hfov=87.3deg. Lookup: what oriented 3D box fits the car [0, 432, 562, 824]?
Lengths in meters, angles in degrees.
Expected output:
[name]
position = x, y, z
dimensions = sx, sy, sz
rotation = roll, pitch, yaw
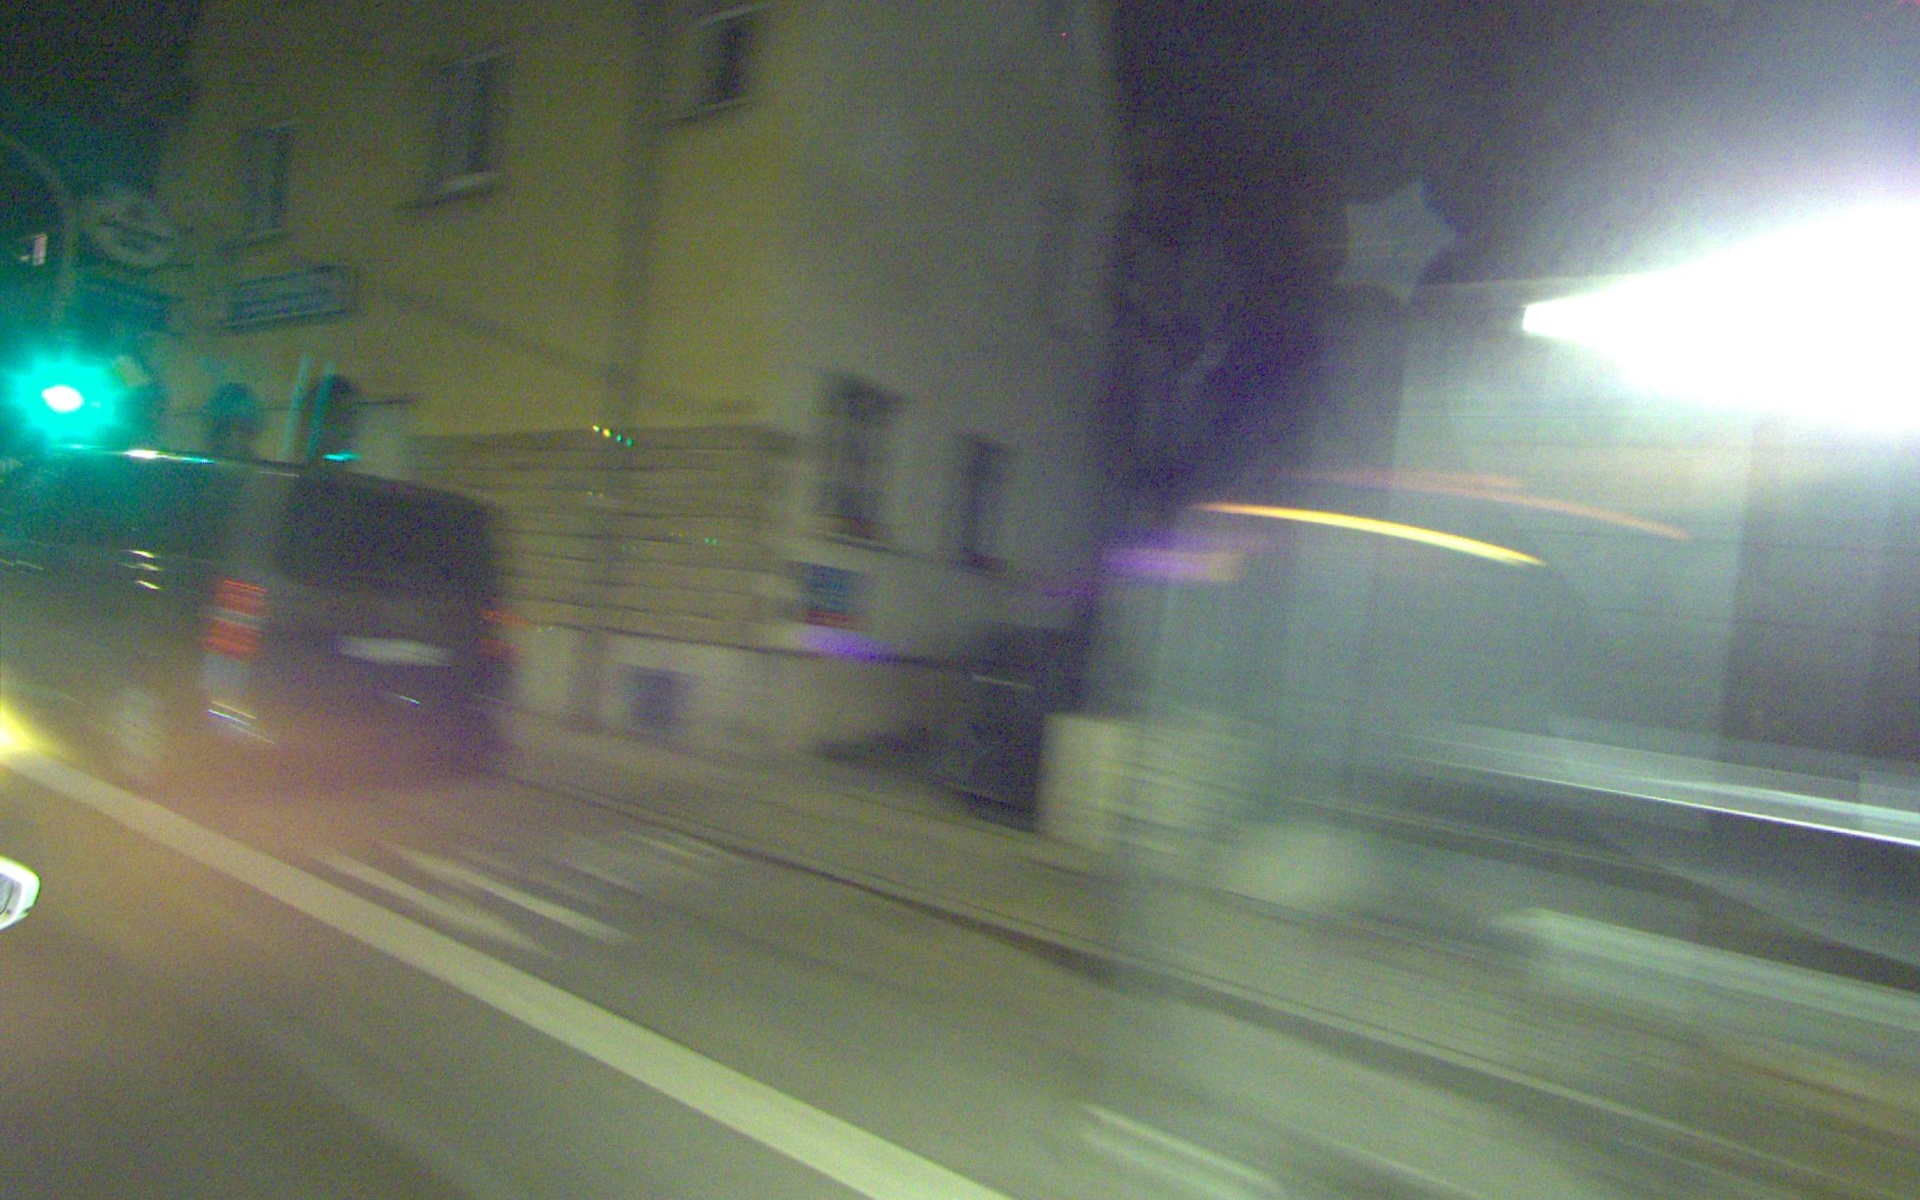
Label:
[car]
position = -5.253, 0.001, 6.862
dimensions = 4.815, 1.848, 1.915
rotation = 7, -1, 28
